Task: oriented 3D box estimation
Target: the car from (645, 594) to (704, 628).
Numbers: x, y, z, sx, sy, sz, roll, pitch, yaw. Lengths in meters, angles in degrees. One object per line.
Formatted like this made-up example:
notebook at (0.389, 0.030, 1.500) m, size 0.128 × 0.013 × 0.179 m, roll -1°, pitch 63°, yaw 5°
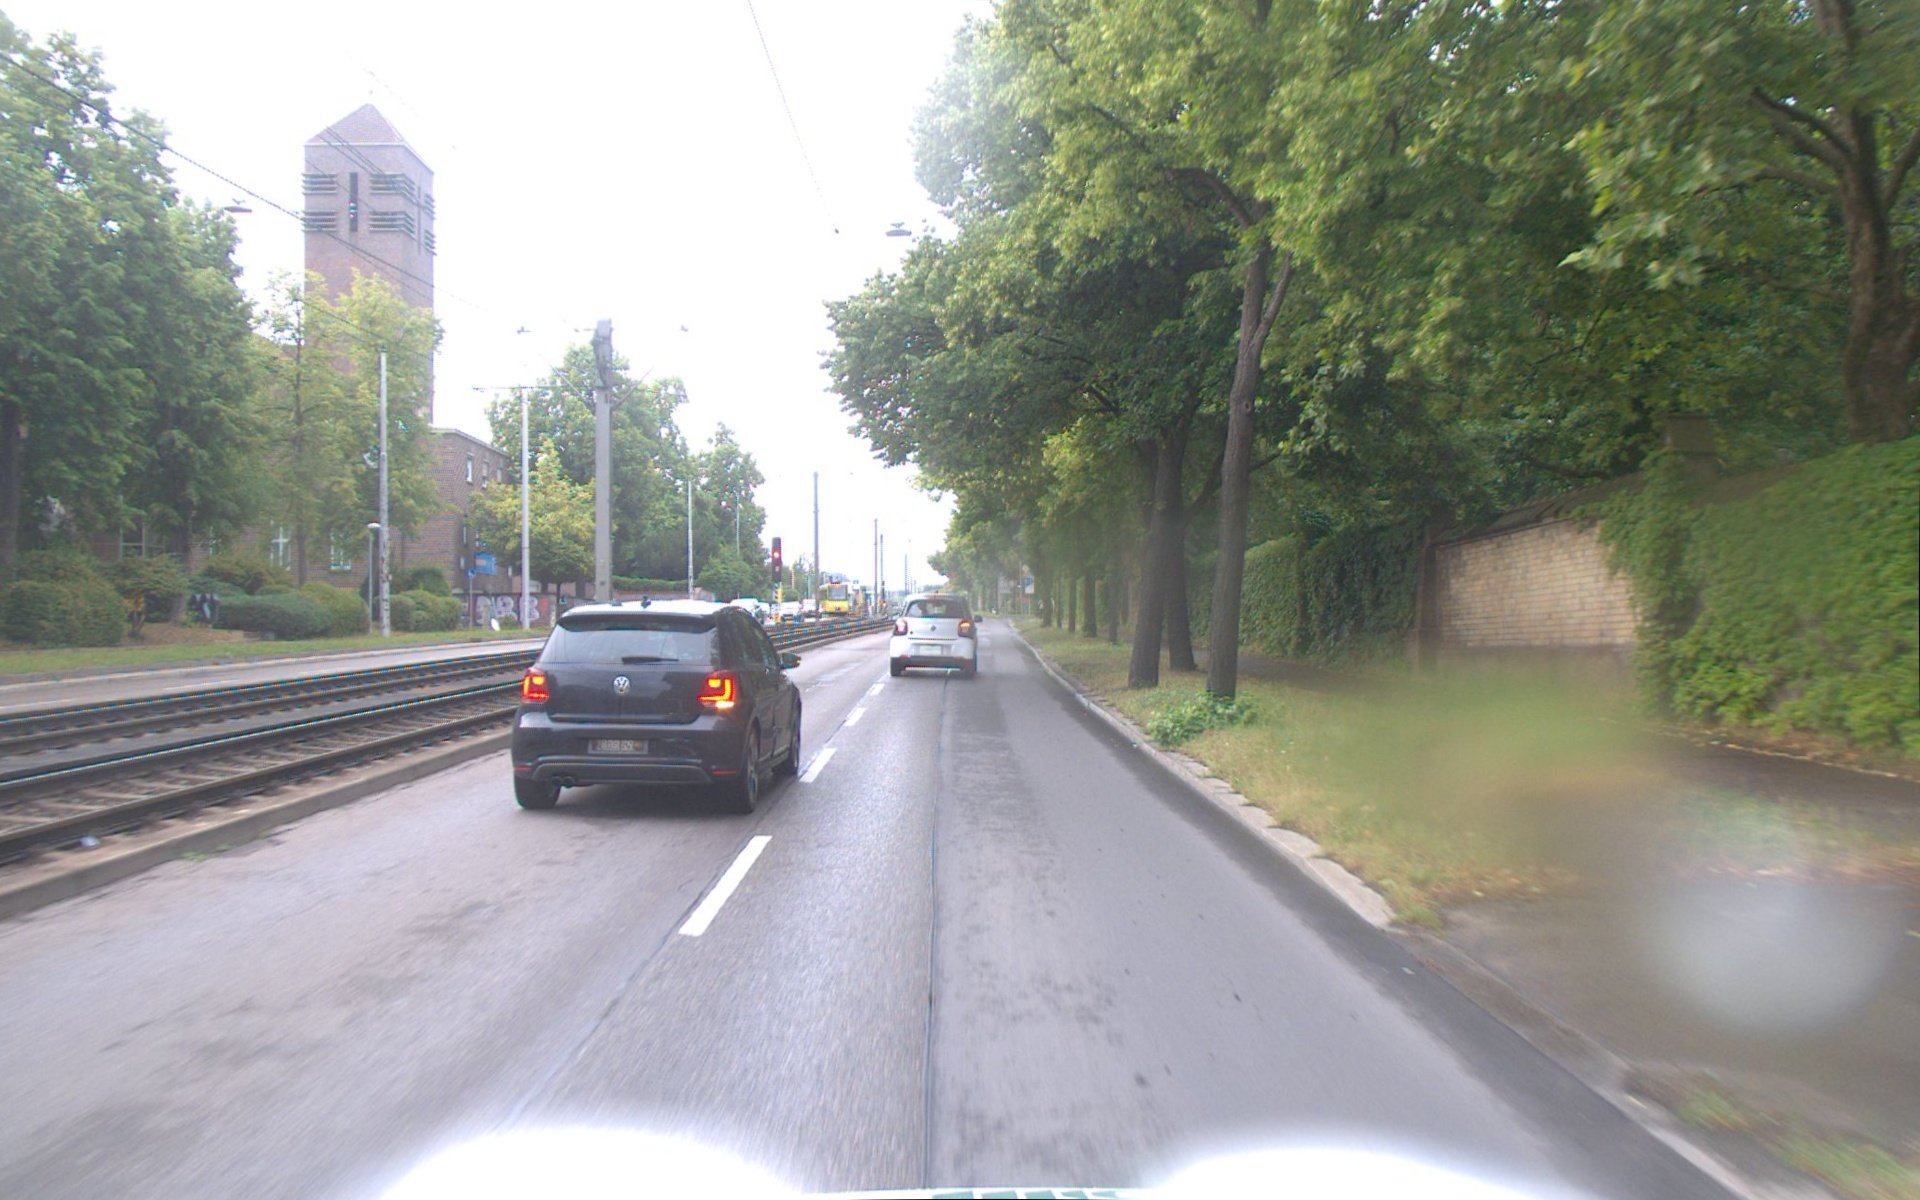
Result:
car at (-14.697, 0.536, 85.313) m, size 1.970 × 1.685 × 4.619 m, roll -1°, pitch 0°, yaw 3°

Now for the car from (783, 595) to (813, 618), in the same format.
car at (-11.181, 0.439, 114.241) m, size 1.646 × 1.487 × 3.609 m, roll -1°, pitch 0°, yaw 1°

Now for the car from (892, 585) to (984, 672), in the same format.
car at (-0.379, 0.521, 32.560) m, size 1.641 × 1.557 × 3.722 m, roll 2°, pitch 0°, yaw 1°

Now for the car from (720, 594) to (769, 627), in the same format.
car at (-11.553, 0.549, 88.873) m, size 1.796 × 1.685 × 4.241 m, roll -1°, pitch 0°, yaw 3°

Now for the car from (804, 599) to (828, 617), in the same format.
car at (-14.313, 0.795, 164.616) m, size 1.952 × 1.691 × 5.126 m, roll 1°, pitch 0°, yaw 0°

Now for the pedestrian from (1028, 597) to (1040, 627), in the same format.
pedestrian at (7.473, 1.177, 167.917) m, size 1.140 × 3.029 × 0.948 m, roll 1°, pitch 0°, yaw 0°

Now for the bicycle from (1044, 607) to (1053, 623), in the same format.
bicycle at (5.181, 0.868, 96.665) m, size 0.399 × 0.918 × 2.099 m, roll 0°, pitch 0°, yaw 0°

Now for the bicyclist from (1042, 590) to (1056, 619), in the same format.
bicyclist at (5.185, 0.251, 96.669) m, size 0.747 × 1.644 × 0.998 m, roll 0°, pitch 0°, yaw 0°

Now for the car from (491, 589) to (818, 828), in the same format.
car at (-2.142, 0.687, 12.665) m, size 1.757 × 1.511 × 3.964 m, roll 1°, pitch 0°, yaw 0°

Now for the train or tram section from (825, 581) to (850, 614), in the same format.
train or tram section at (-14.079, -0.259, 190.142) m, size 2.776 × 3.668 × 9.262 m, roll 1°, pitch 0°, yaw -4°
